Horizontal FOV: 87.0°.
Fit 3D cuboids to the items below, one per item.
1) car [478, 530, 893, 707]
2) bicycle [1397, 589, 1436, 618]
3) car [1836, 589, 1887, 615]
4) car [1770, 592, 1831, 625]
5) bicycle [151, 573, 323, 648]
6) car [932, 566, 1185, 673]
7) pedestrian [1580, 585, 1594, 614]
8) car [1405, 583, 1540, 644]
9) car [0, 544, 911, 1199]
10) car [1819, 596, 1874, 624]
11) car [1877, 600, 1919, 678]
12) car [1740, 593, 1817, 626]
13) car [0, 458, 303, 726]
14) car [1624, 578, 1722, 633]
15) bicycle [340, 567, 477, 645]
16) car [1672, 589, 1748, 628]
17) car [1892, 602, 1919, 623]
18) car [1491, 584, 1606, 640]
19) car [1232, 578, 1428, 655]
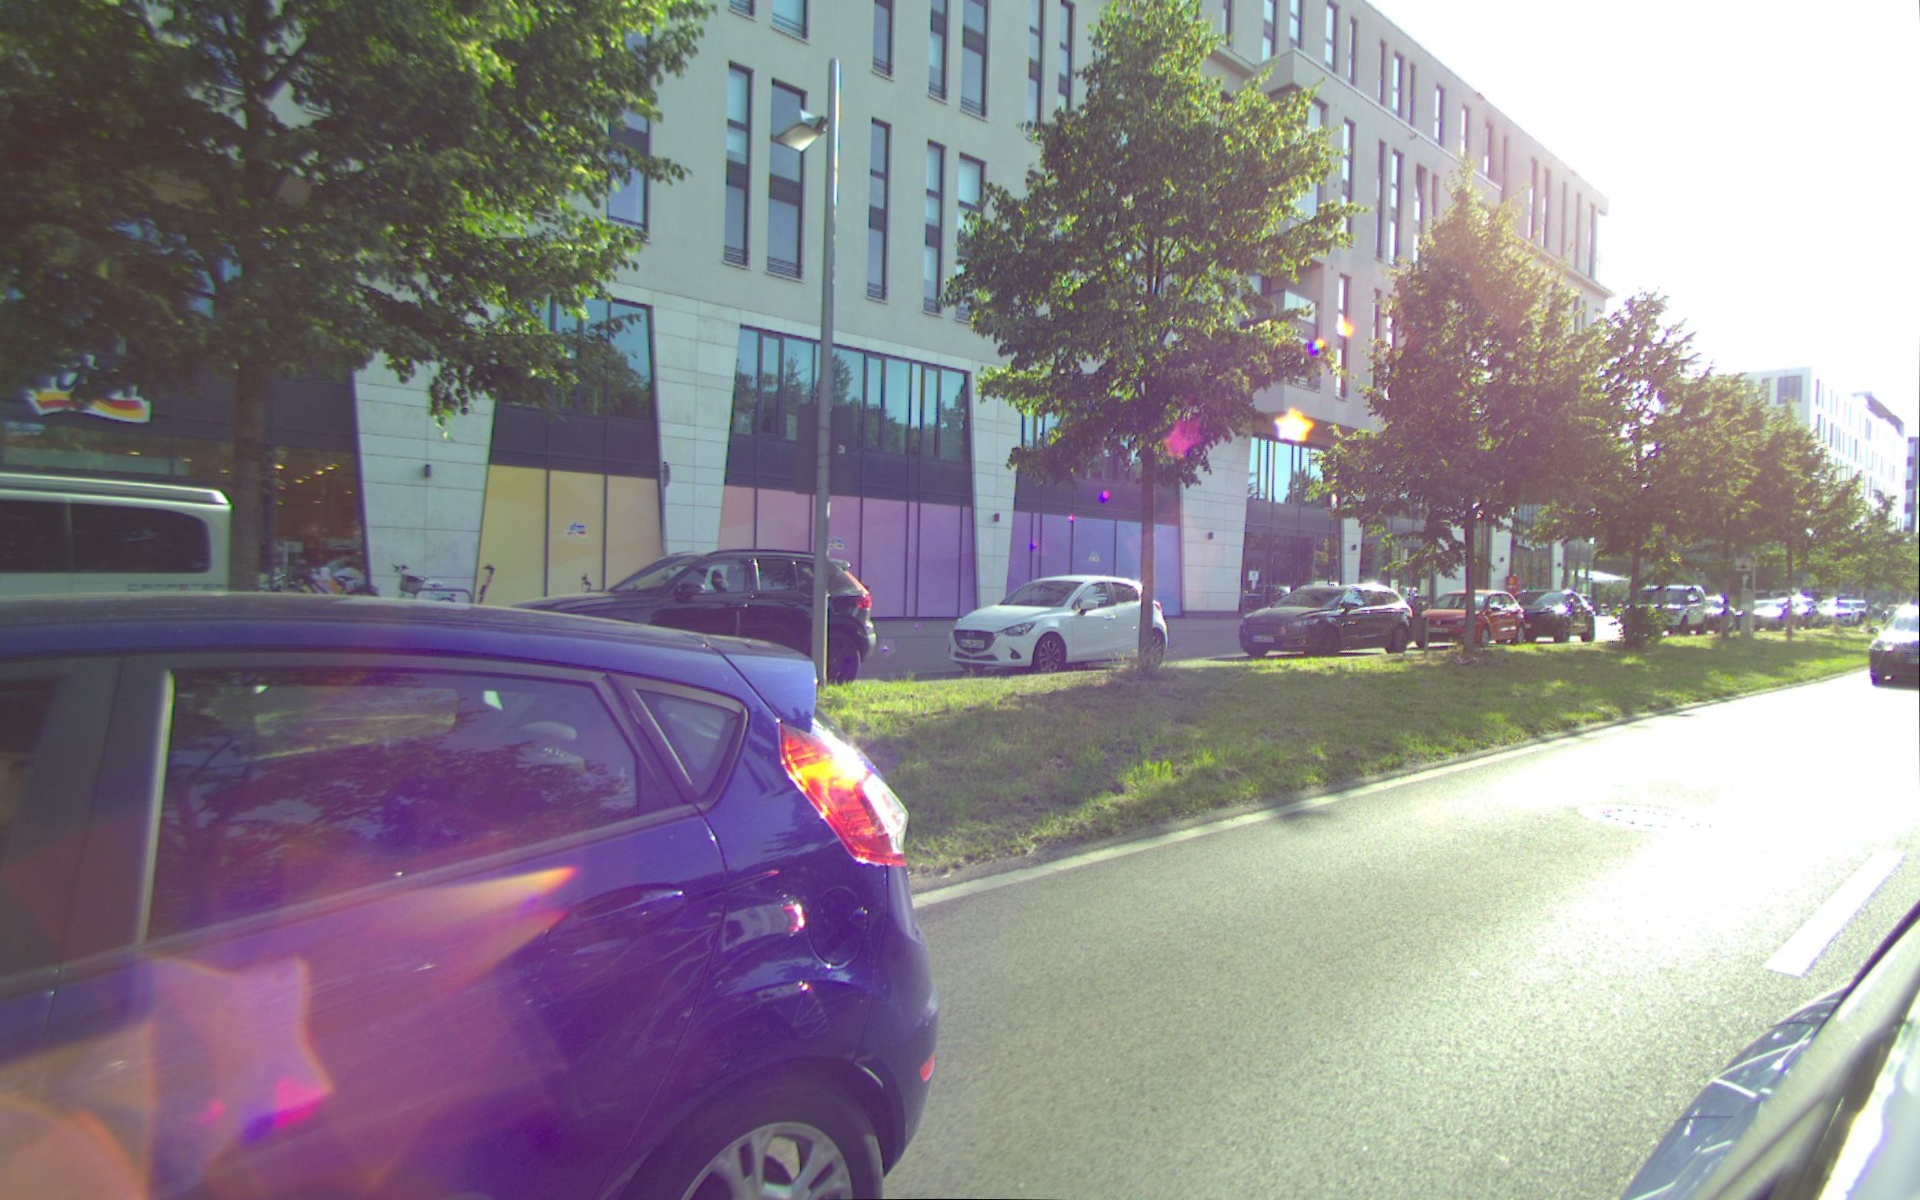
[{"bbox_3d":[-2.999,0.161,11.573,4.262,1.671,1.732,0,0,-40],"label":"car"},{"bbox_3d":[17.662,0.116,39.110,2.040,1.083,0.512,0,3,-40],"label":"bicycle"},{"bbox_3d":[56.026,0.128,62.873,4.253,1.549,1.838,0,0,-41],"label":"car"},{"bbox_3d":[43.333,0.410,52.136,4.253,1.618,1.763,0,0,-41],"label":"car"},{"bbox_3d":[-10.458,0.132,14.693,2.007,1.012,0.419,0,5,-40],"label":"bicycle"},{"bbox_3d":[1.621,0.251,15.608,4.098,1.430,1.617,-1,0,-43],"label":"car"},{"bbox_3d":[35.353,-0.049,57.043,0.562,1.621,0.499,0,-1,-41],"label":"pedestrian"},{"bbox_3d":[13.146,0.304,25.882,4.043,1.450,1.731,0,0,-42],"label":"car"},{"bbox_3d":[-2.048,0.665,1.312,3.839,1.442,1.562,0,0,-41],"label":"car"},{"bbox_3d":[51.246,0.558,58.475,4.253,1.549,1.838,0,0,-41],"label":"car"},{"bbox_3d":[19.743,0.733,20.189,3.969,1.442,1.697,0,0,-41],"label":"car"},{"bbox_3d":[38.736,0.418,47.870,4.828,1.507,1.764,0,0,-38],"label":"car"},{"bbox_3d":[-7.902,-0.049,7.416,4.948,1.900,1.839,0,0,-44],"label":"car"},{"bbox_3d":[26.231,0.171,37.175,4.760,1.898,1.897,0,0,-41],"label":"car"},{"bbox_3d":[-8.761,0.052,16.182,0.416,1.112,2.092,4,4,24],"label":"bicycle"},{"bbox_3d":[30.458,0.329,41.062,4.140,1.507,1.761,0,0,-43],"label":"car"},{"bbox_3d":[72.367,0.915,76.920,4.253,1.549,1.838,0,0,-41],"label":"car"},{"bbox_3d":[17.174,0.307,29.433,1.868,1.510,4.344,-1,0,45],"label":"car"},{"bbox_3d":[7.786,0.296,21.112,4.637,1.450,1.732,-1,0,-39],"label":"car"}]
